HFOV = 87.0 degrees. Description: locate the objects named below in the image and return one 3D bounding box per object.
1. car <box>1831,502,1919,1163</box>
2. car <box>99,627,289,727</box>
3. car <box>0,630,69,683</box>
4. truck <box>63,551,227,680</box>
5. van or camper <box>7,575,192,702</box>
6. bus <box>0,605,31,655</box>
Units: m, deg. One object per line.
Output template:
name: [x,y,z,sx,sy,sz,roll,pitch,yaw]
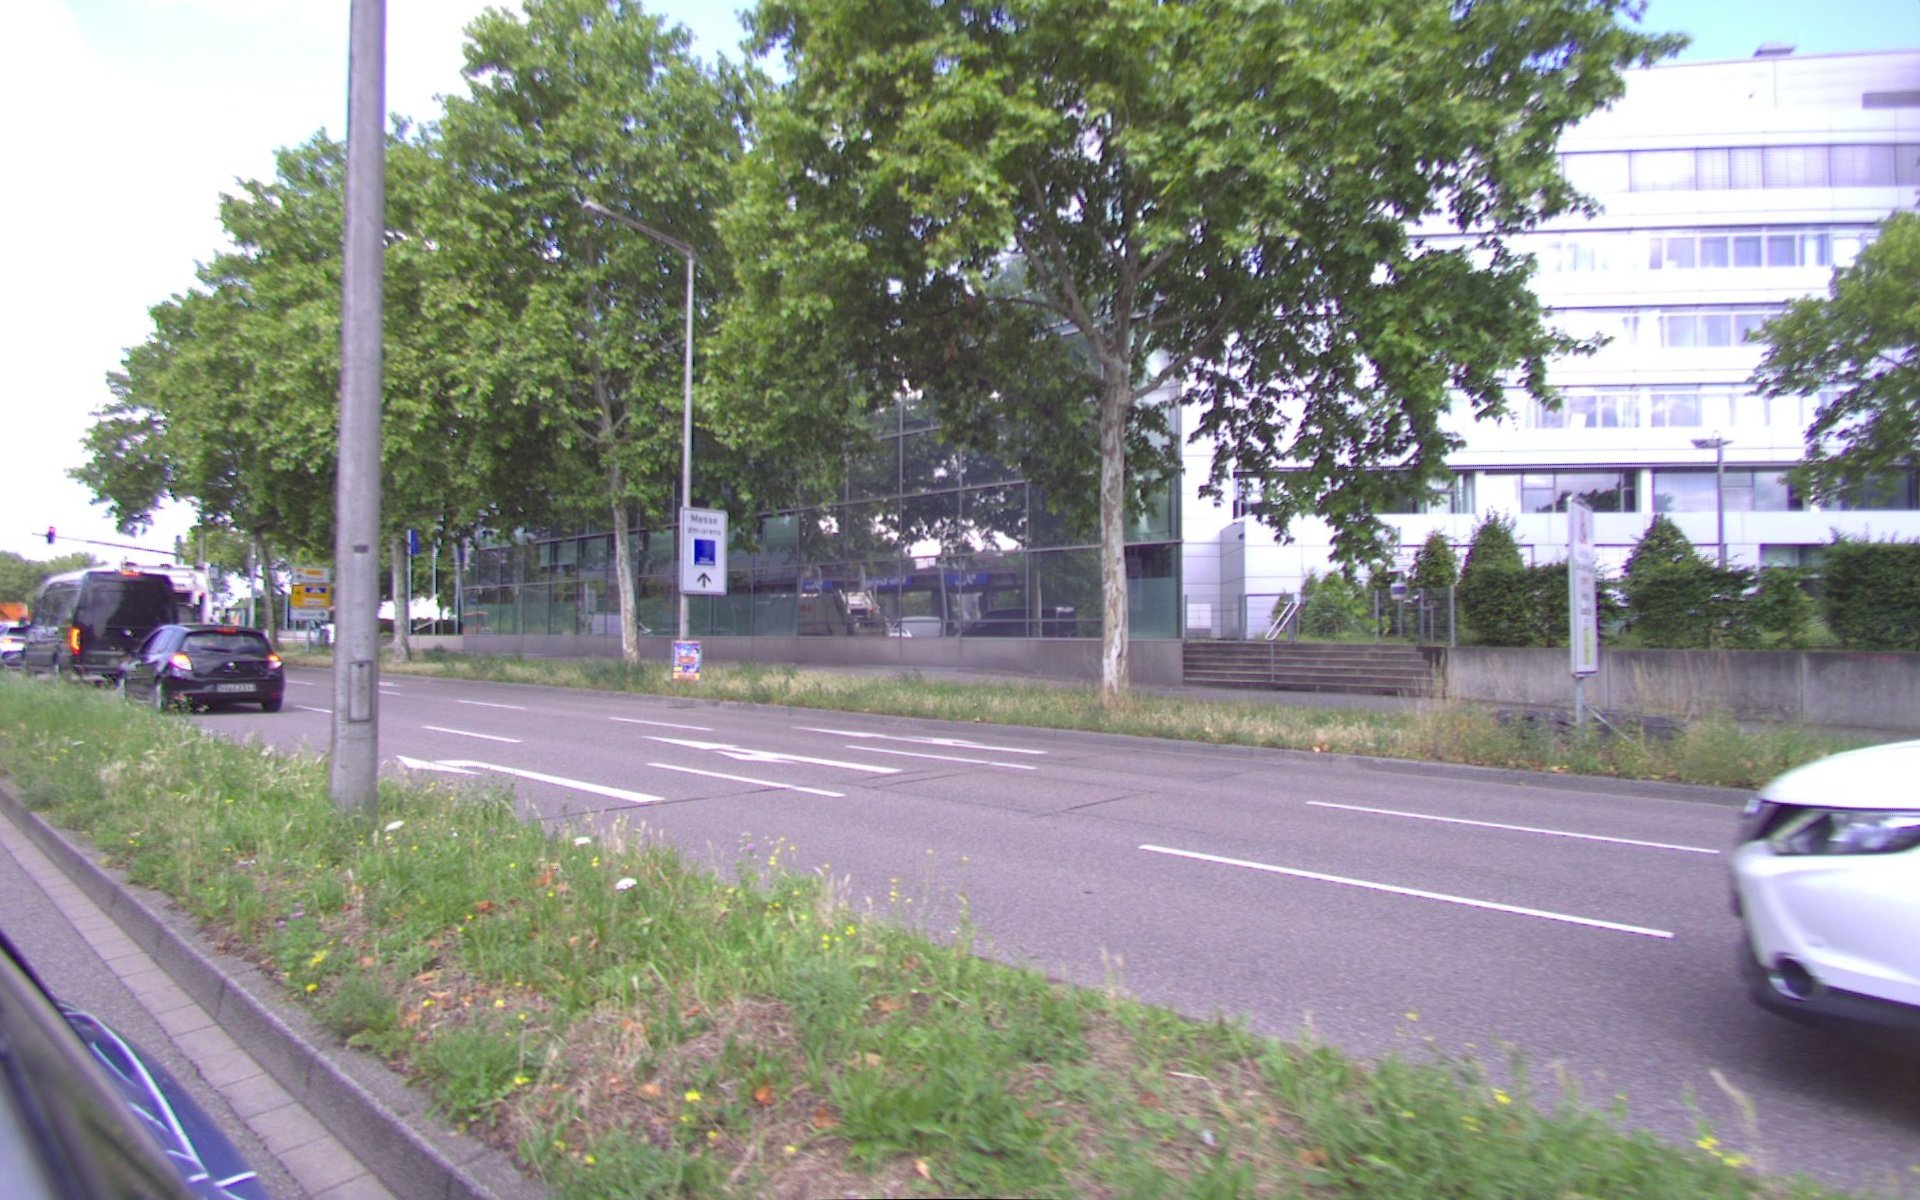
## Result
car: [4.601,0.591,1.929,4.346,1.652,1.796,-1,-4,39]
car: [-13.122,1.233,17.267,3.937,1.475,1.677,0,-2,39]
car: [-30.261,1.795,32.601,4.231,1.564,1.726,-1,-4,41]
truck: [-28.405,0.641,35.043,10.156,3.918,2.622,-2,-4,42]
van or camper: [-20.677,0.883,24.190,6.710,2.680,2.084,-1,-3,39]
bus: [-72.318,2.328,71.755,2.712,3.491,10.379,2,2,5]
